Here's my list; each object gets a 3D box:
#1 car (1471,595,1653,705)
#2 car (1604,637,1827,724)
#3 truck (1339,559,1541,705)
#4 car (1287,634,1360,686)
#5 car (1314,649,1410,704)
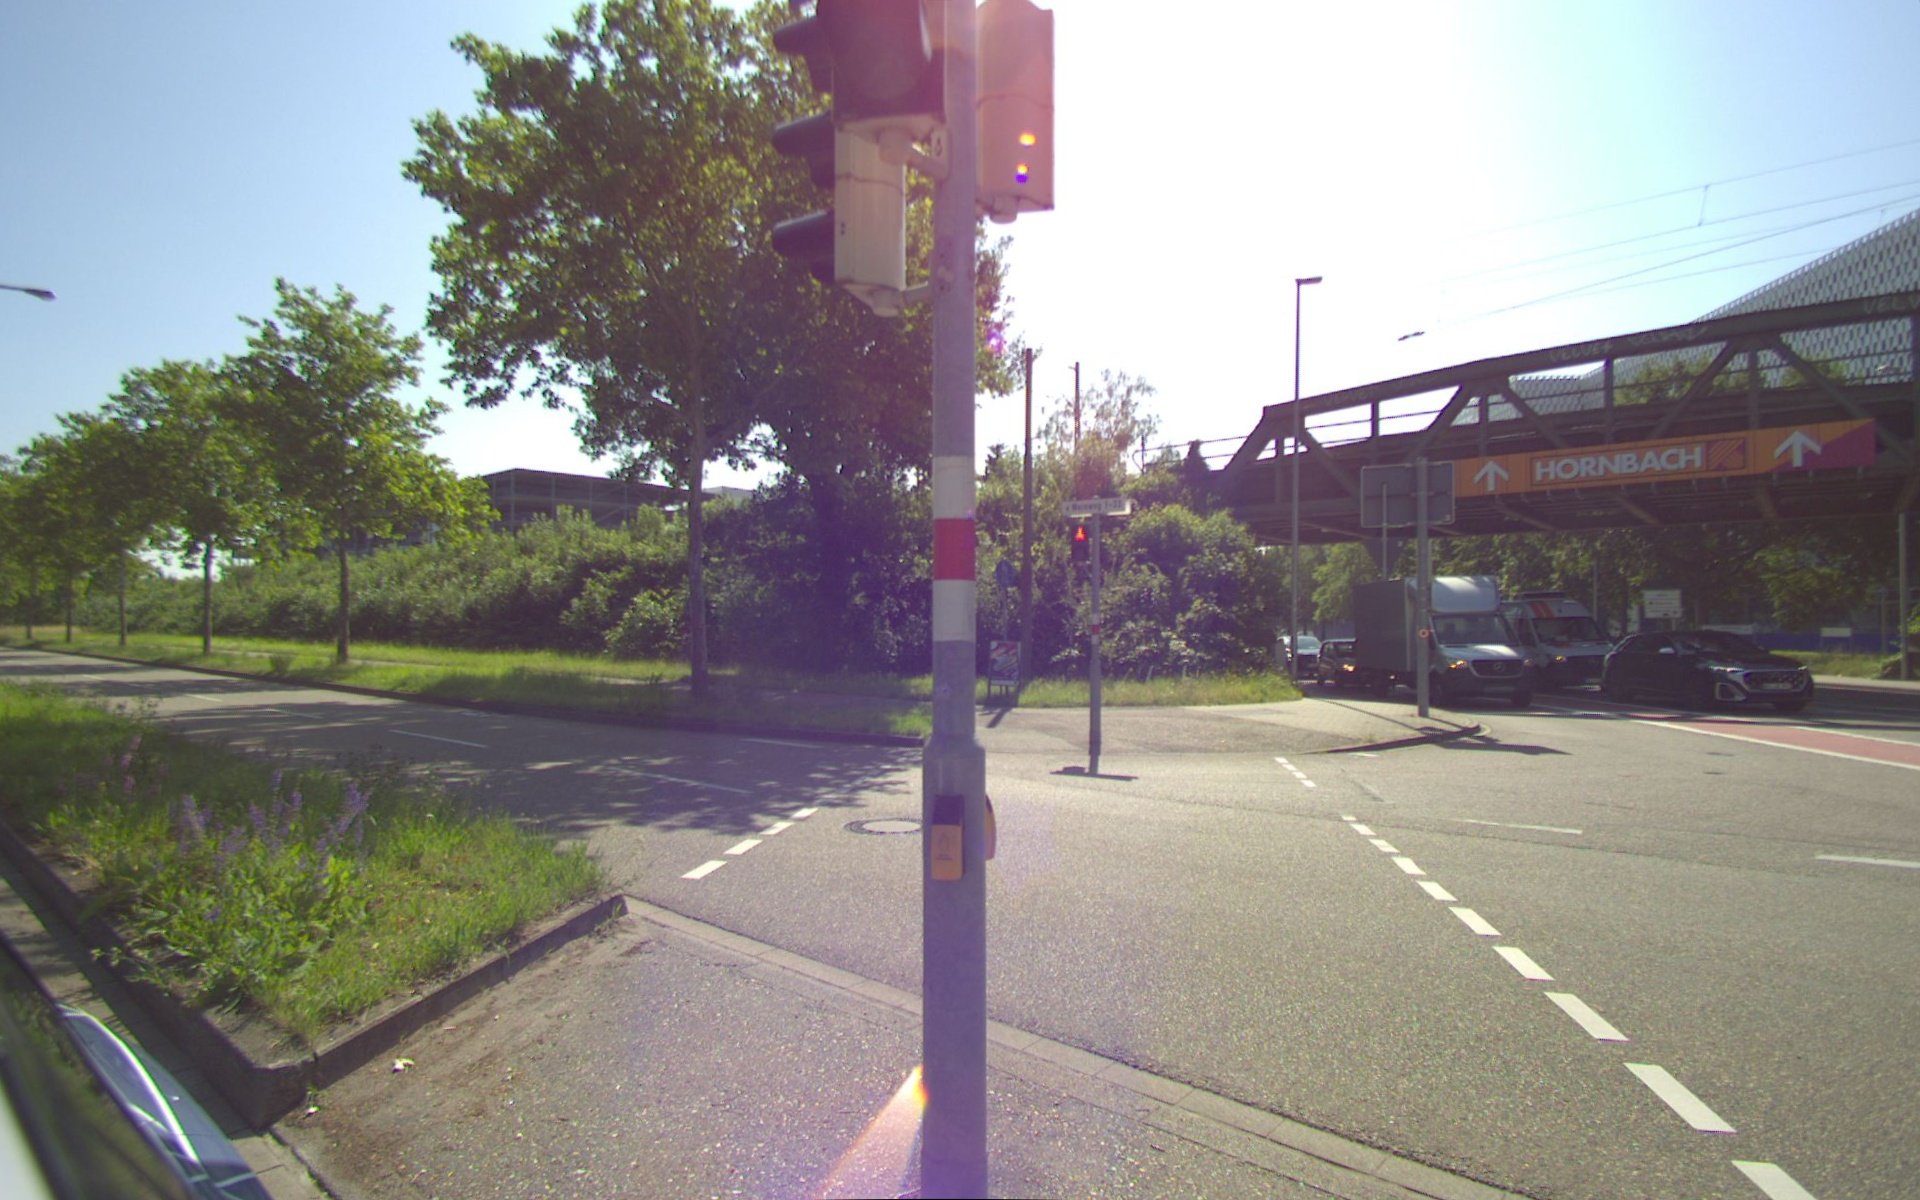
[{"bbox_3d":[17.170,1.413,29.365,2.149,2.834,6.186,0,-2,7],"label":"car"},{"bbox_3d":[15.728,1.654,21.386,1.881,1.659,3.993,-1,-3,5],"label":"car"},{"bbox_3d":[11.605,0.877,25.223,2.191,3.130,6.853,-1,-3,5],"label":"truck"},{"bbox_3d":[13.757,2.236,38.525,1.869,1.763,3.989,-1,0,9],"label":"car"},{"bbox_3d":[12.525,2.344,31.824,1.869,1.400,4.227,-1,0,9],"label":"car"}]
